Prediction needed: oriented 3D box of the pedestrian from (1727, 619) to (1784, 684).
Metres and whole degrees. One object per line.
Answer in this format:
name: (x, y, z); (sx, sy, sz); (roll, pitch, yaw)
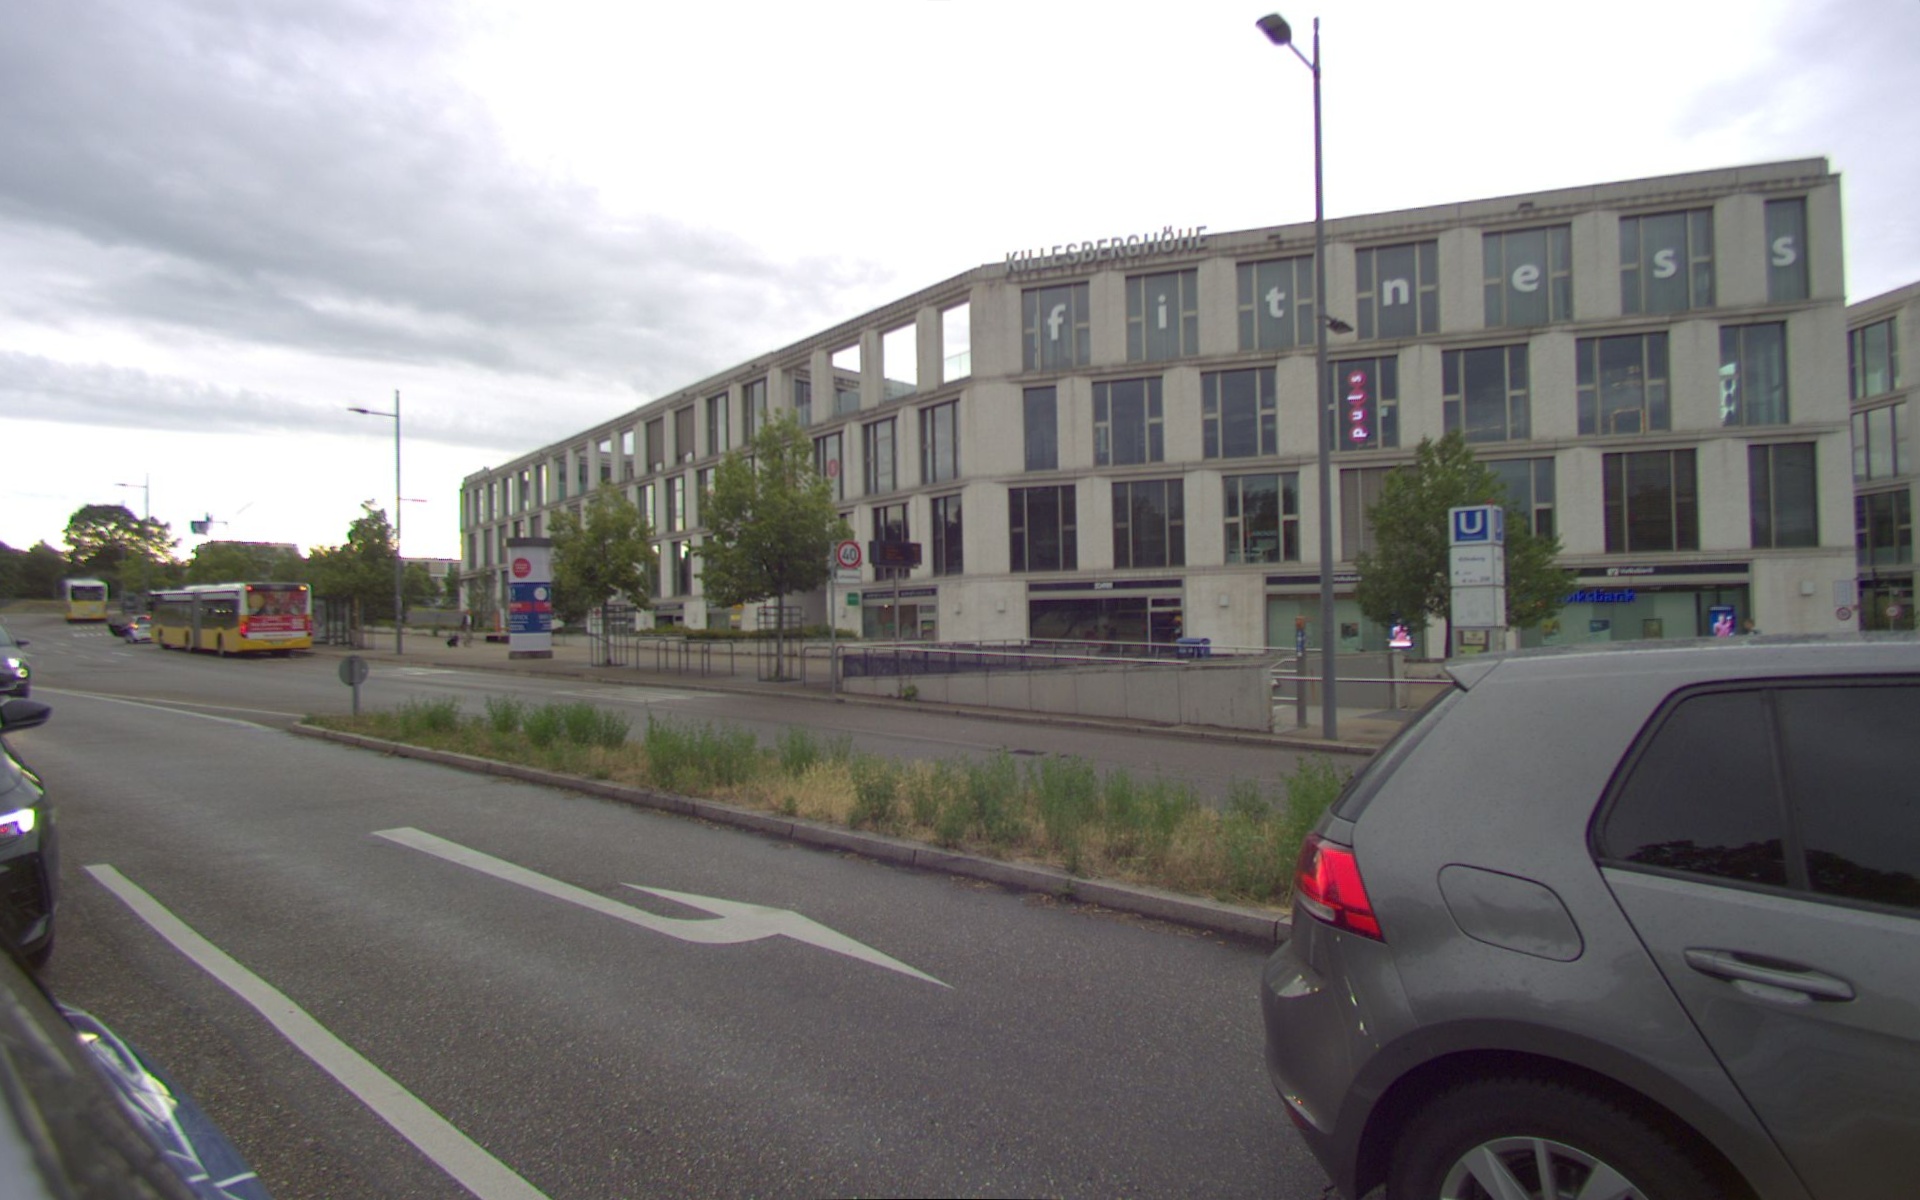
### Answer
pedestrian: (20.197, 1.287, 25.708); (0.907, 1.617, 0.760); (-1, -1, 18)

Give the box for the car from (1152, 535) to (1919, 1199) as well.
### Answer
car: (2.643, 0.653, 1.450); (4.376, 1.492, 1.796); (-1, -2, 42)

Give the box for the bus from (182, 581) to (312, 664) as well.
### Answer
bus: (-31.131, 0.921, 43.974); (9.206, 3.236, 2.723); (-1, 0, 43)

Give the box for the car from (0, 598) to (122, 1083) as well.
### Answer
car: (-5.144, 0.764, 4.170); (4.766, 1.476, 1.877); (-1, 0, 41)

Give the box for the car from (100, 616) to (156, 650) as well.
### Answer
car: (-47.202, 1.837, 57.416); (3.998, 1.800, 1.843); (-1, 0, 41)

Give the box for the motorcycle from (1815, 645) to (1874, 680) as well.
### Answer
motorcycle: (20.433, 1.440, 23.397); (0.517, 0.746, 1.098); (-1, 0, 9)

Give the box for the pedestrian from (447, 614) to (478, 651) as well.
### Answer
pedestrian: (-22.132, 1.439, 45.053); (0.981, 1.593, 0.857); (-1, 0, 33)

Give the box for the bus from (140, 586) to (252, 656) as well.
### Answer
bus: (-38.157, 0.991, 50.381); (9.911, 3.205, 2.658); (-1, 0, 42)

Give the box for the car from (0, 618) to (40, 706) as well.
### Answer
car: (-17.798, 1.070, 17.923); (3.500, 1.492, 1.612); (-1, -1, 37)

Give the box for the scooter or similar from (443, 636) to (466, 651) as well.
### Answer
scooter or similar: (-22.484, 1.940, 45.033); (0.832, 0.656, 0.633); (-1, -2, 39)

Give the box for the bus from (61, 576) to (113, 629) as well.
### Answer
bus: (-76.489, 0.270, 88.926); (2.717, 4.185, 19.383); (-1, 0, -39)
